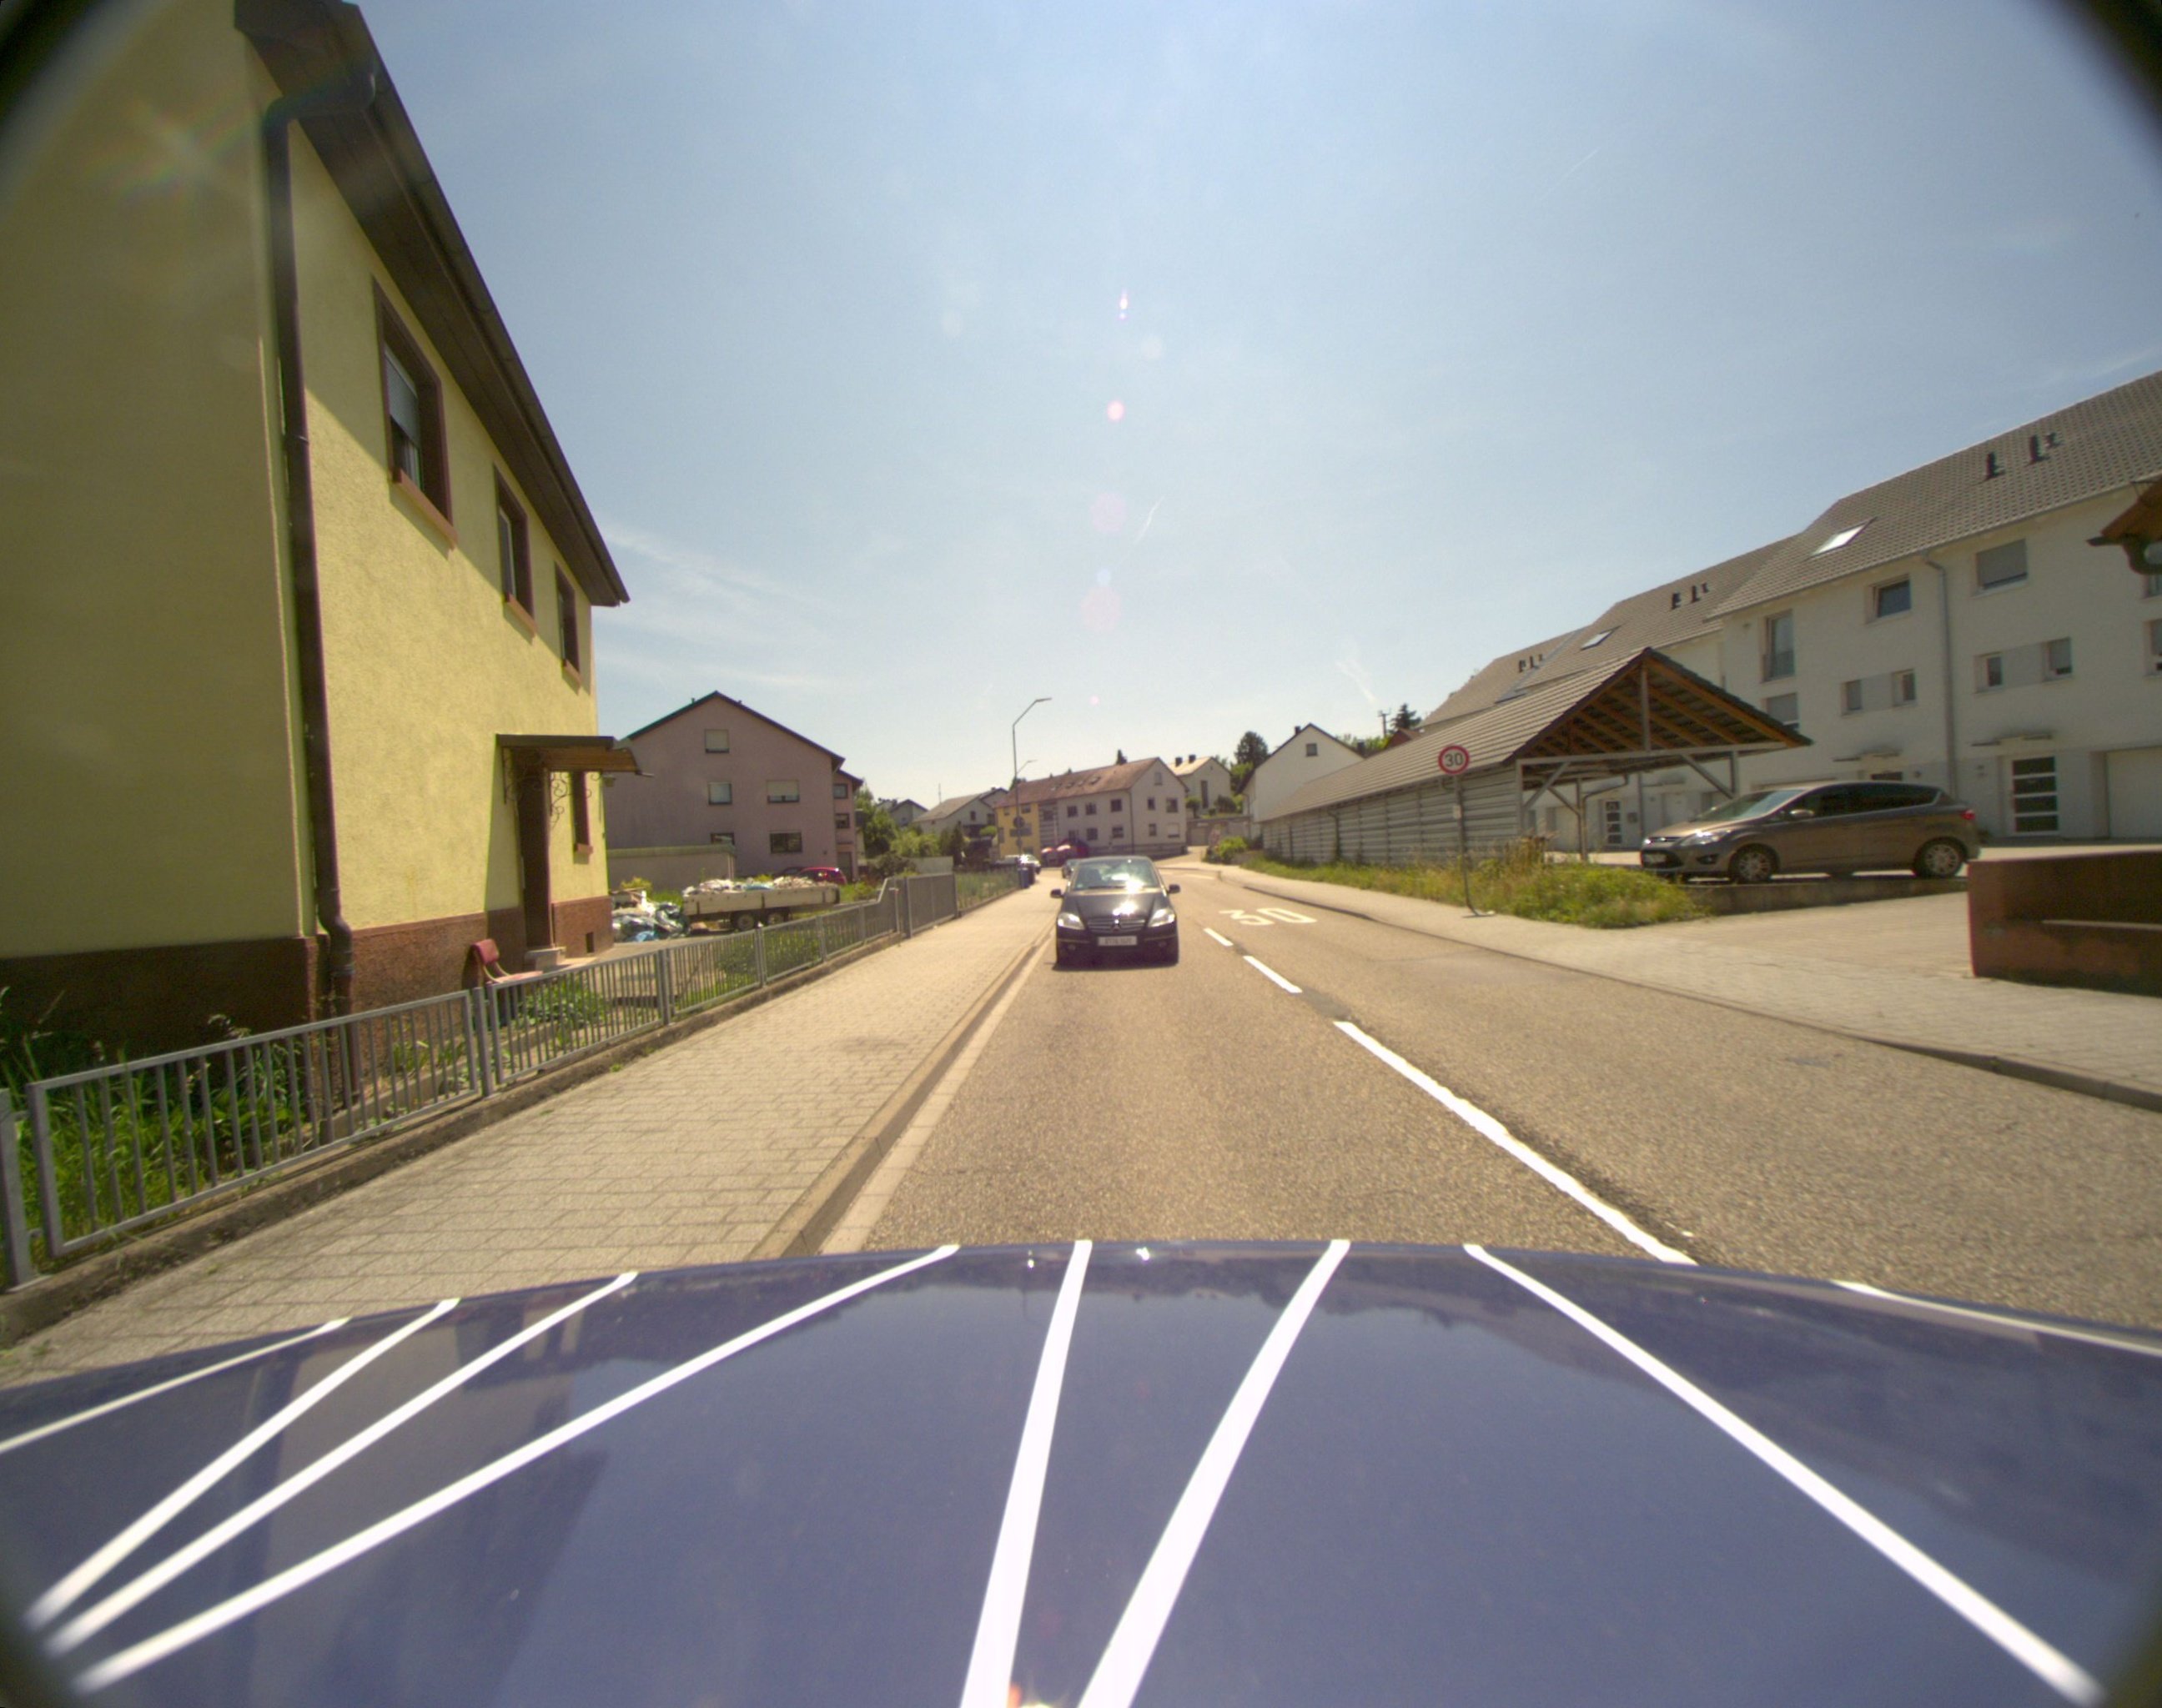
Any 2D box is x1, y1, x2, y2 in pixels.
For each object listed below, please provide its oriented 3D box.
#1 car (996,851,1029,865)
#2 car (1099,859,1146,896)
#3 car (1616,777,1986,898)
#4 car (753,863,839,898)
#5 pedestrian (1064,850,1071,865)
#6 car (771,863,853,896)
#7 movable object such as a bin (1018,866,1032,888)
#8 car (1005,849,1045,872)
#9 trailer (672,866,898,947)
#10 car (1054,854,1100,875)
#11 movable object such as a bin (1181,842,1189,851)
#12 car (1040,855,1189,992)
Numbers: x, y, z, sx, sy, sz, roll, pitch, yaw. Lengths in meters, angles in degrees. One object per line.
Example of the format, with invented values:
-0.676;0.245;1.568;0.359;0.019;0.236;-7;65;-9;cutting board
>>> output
-8.352;0.518;92.464;1.739;1.543;4.177;-5;1;-41;car
1.877;0.994;33.264;1.813;1.306;4.001;-4;1;6;car
11.508;-0.251;12.411;4.134;1.628;1.865;-3;1;3;car
-15.511;1.399;41.378;4.130;1.539;1.847;-4;1;-25;car
-1.472;0.384;84.406;0.613;1.578;0.808;-3;1;-9;pedestrian
-13.899;1.298;39.325;3.841;1.477;1.758;-2;0;-21;car
-2.853;1.186;38.925;0.567;1.051;0.650;-3;1;-14;movable object such as a bin
-5.480;0.653;73.395;1.871;1.897;5.027;-5;0;-28;car
-7.937;1.320;20.566;5.370;1.537;2.134;-5;1;-27;trailer
-0.337;0.847;57.211;1.900;1.368;3.993;-5;0;-25;car
11.187;-0.774;81.597;0.601;0.929;0.599;-4;1;-44;movable object such as a bin
0.559;0.878;11.592;1.764;1.583;4.199;-4;0;4;car
